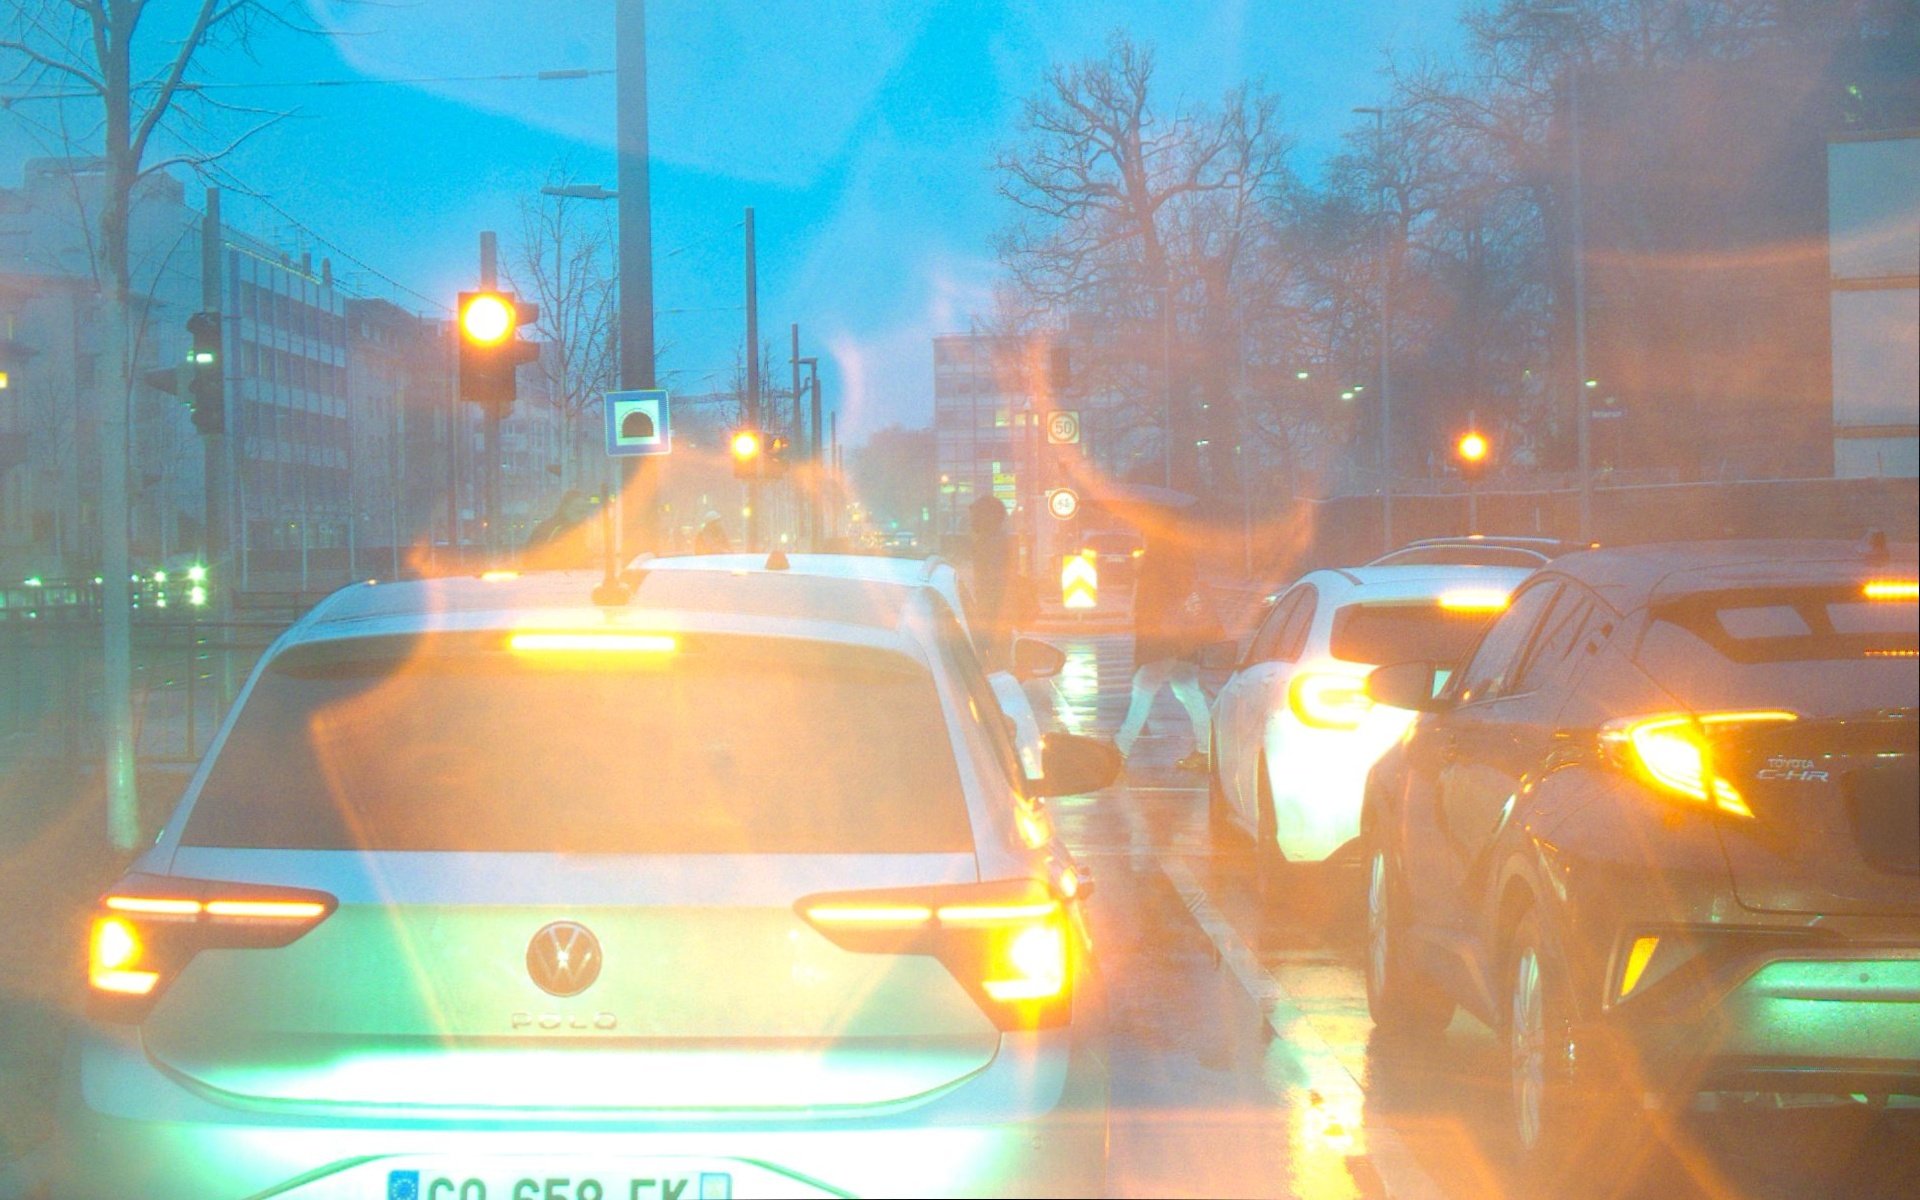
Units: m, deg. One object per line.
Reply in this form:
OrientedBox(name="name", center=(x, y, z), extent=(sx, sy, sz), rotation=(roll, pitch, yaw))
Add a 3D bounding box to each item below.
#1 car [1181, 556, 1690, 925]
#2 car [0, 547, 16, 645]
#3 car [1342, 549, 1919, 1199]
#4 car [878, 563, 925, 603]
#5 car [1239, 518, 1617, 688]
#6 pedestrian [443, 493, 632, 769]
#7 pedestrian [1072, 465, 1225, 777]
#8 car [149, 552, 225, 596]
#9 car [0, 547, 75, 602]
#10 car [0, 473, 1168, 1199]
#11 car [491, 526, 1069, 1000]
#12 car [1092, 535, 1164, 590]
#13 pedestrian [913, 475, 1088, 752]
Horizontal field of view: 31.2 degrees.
OrientedBox(name="car", center=(1.999, 0.532, 15.451), extent=(1.745, 1.428, 3.731), rotation=(1, 1, 0))
OrientedBox(name="car", center=(-16.673, -0.069, 55.200), extent=(1.993, 1.597, 4.000), rotation=(1, 1, -1))
OrientedBox(name="car", center=(2.130, 0.637, 8.957), extent=(1.800, 1.505, 3.895), rotation=(-1, 1, 0))
OrientedBox(name="car", center=(-2.210, -0.666, 130.760), extent=(1.737, 1.415, 4.394), rotation=(-1, 1, 0))
OrientedBox(name="car", center=(5.726, 0.014, 41.911), extent=(4.275, 1.937, 1.998), rotation=(1, 1, 17))
OrientedBox(name="pedestrian", center=(-3.159, 0.212, 25.714), extent=(1.005, 2.007, 0.961), rotation=(-2, 1, -40))
OrientedBox(name="pedestrian", center=(1.242, 0.128, 22.749), extent=(0.959, 2.007, 1.007), rotation=(-1, 1, 3))
OrientedBox(name="car", center=(-29.068, -0.974, 129.359), extent=(1.950, 1.597, 4.000), rotation=(1, 1, 0))
OrientedBox(name="car", center=(-27.812, -0.777, 102.267), extent=(1.950, 1.597, 4.000), rotation=(1, 1, 0))
OrientedBox(name="car", center=(-0.644, 0.541, 6.953), extent=(1.693, 1.528, 4.001), rotation=(0, 1, -3))
OrientedBox(name="car", center=(-0.582, 0.467, 13.171), extent=(1.799, 1.461, 4.586), rotation=(-1, 1, 0))
OrientedBox(name="car", center=(4.559, -1.043, 93.518), extent=(1.737, 1.415, 3.703), rotation=(-1, 1, 0))
OrientedBox(name="pedestrian", center=(0.296, 0.089, 25.658), extent=(0.958, 2.007, 1.008), rotation=(-1, 1, -23))
